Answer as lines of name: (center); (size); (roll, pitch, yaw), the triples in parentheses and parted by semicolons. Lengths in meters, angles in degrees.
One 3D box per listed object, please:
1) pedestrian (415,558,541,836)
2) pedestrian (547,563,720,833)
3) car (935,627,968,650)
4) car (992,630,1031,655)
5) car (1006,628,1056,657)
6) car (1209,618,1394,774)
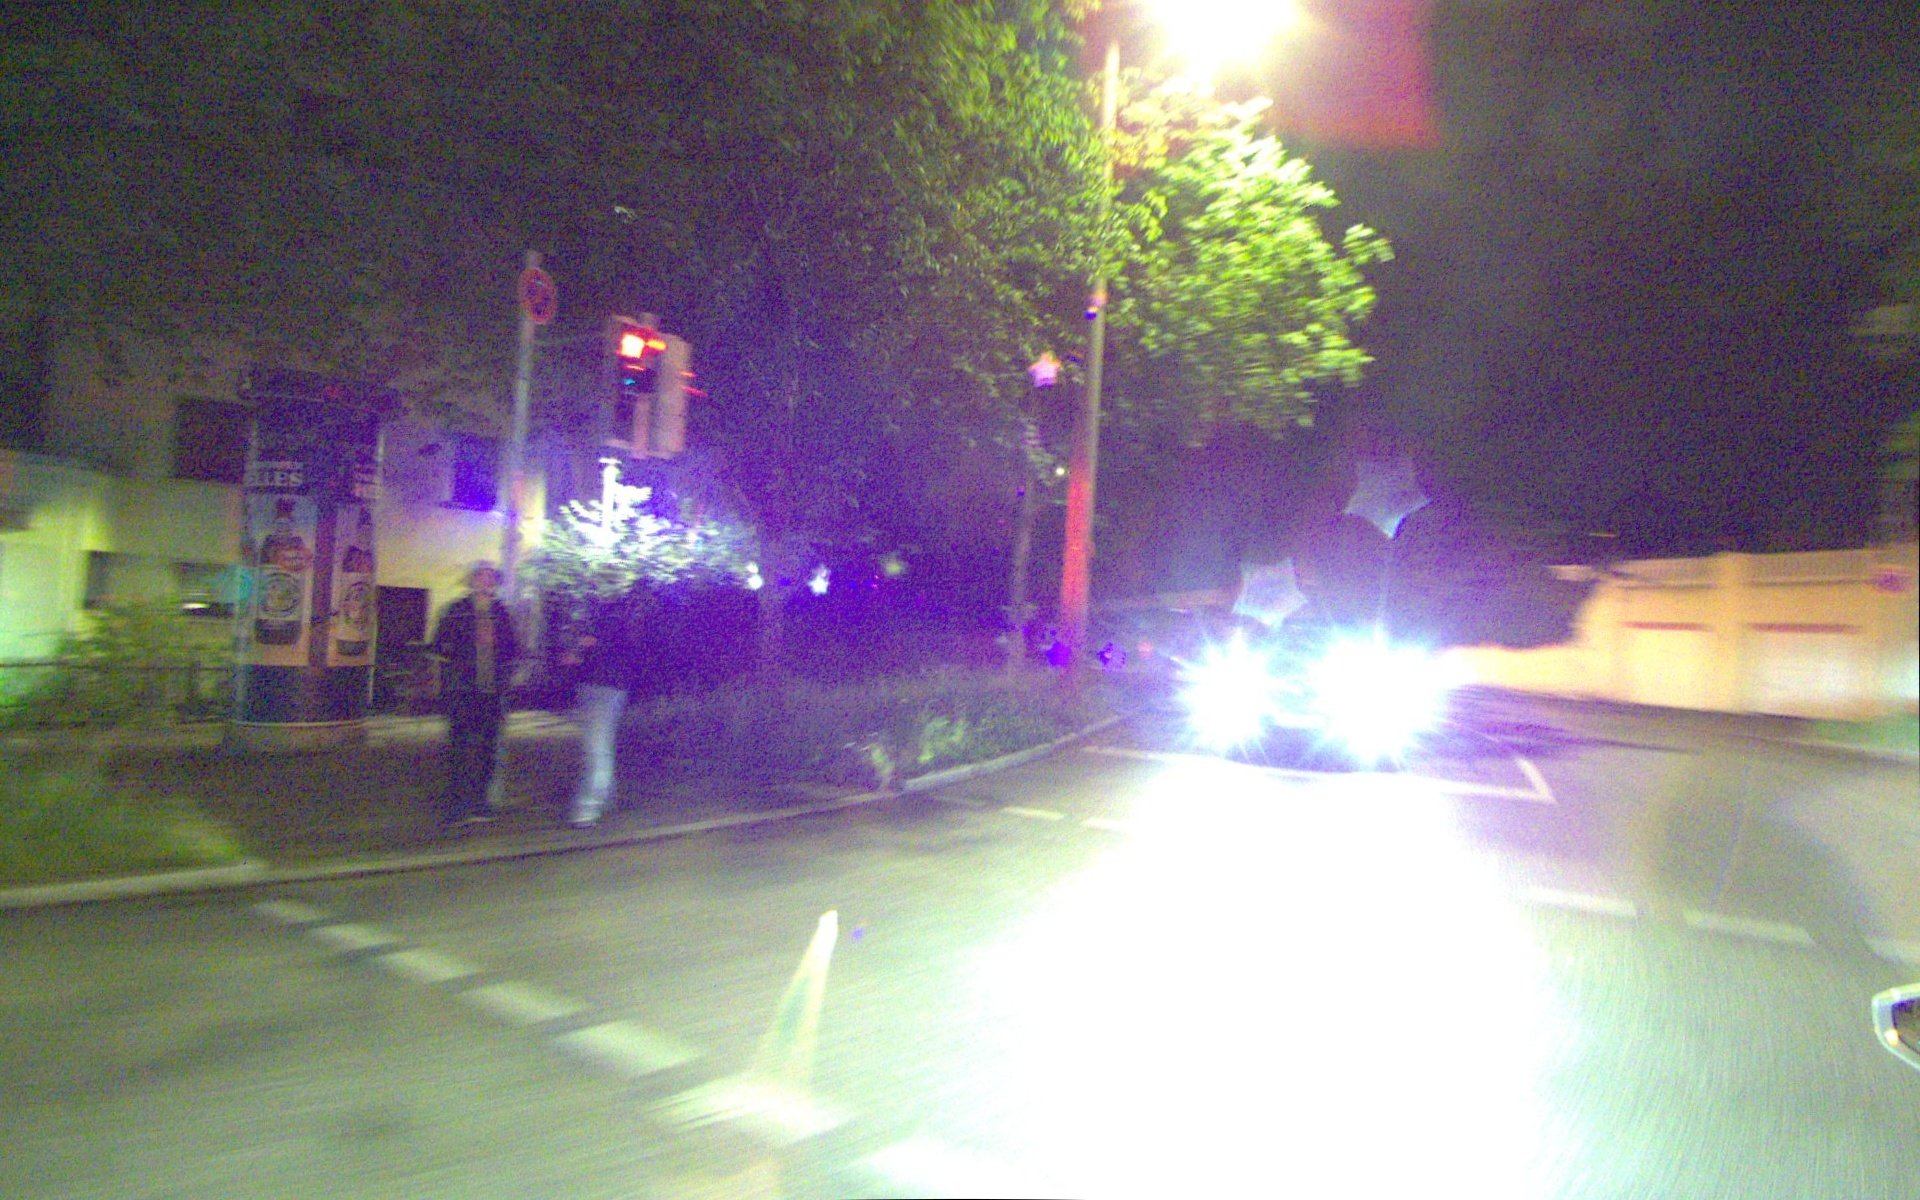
pedestrian: (-3.351, 0.640, 6.991); (0.687, 1.816, 0.517); (0, 0, -40)
pedestrian: (-2.352, 0.655, 7.280); (0.717, 1.793, 0.962); (0, 0, 35)
car: (-0.737, 3.195, 83.435); (1.695, 1.783, 4.747); (5, -3, -13)
car: (3.399, 2.810, 66.710); (1.587, 1.480, 3.706); (2, -1, -14)
car: (4.366, 2.623, 62.319); (1.731, 1.614, 4.717); (5, -3, -12)
car: (4.116, 0.944, 11.722); (1.698, 1.449, 4.288); (0, -1, 23)
